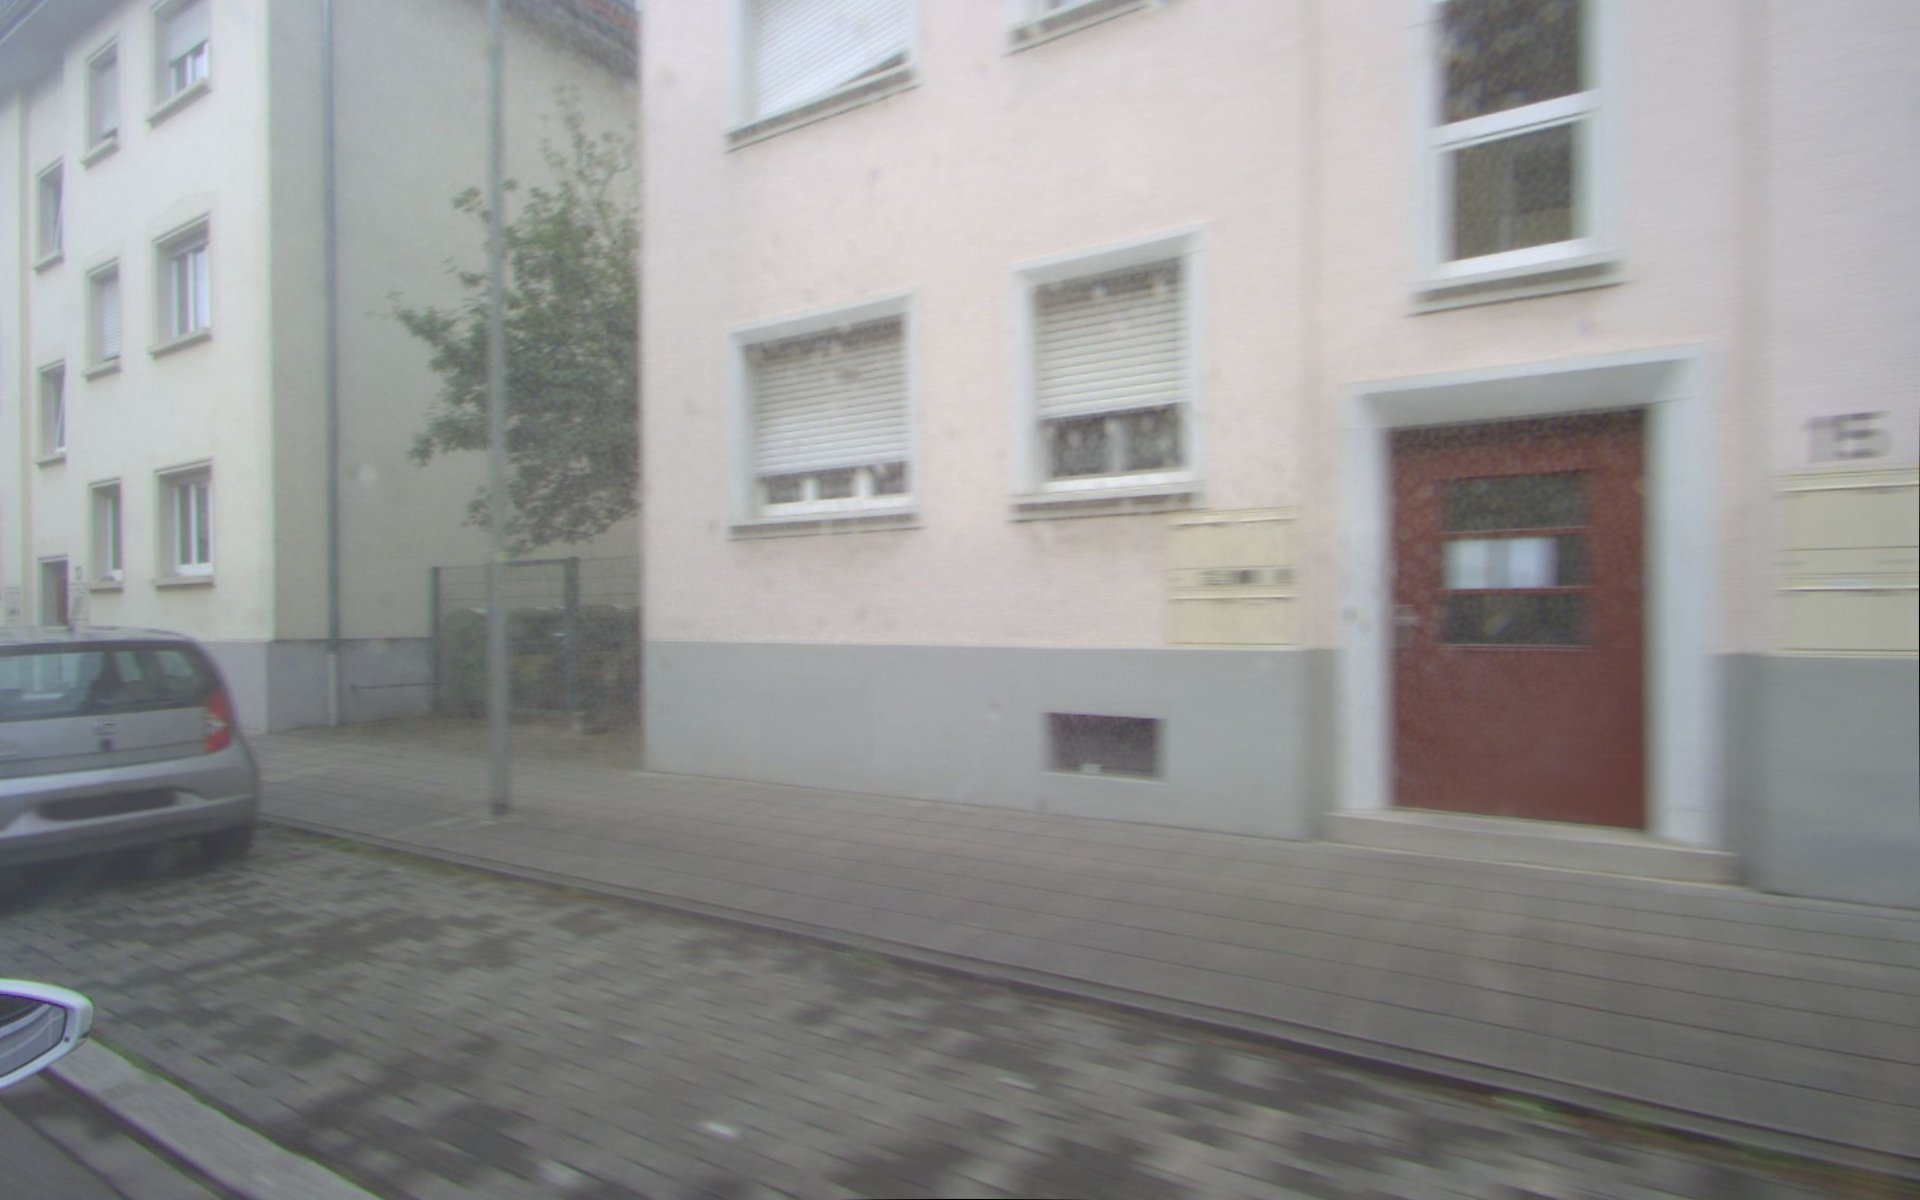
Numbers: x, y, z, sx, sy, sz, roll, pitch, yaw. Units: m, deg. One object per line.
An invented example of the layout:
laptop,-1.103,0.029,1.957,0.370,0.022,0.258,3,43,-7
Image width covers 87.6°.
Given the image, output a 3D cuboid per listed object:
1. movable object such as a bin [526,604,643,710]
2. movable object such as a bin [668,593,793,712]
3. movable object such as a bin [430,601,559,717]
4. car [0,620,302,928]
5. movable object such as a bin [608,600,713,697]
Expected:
movable object such as a bin,-5.496,0.801,14.688,1.133,1.463,1.159,0,0,32
movable object such as a bin,-2.996,0.662,13.128,1.133,1.463,1.159,0,0,32
movable object such as a bin,-6.252,0.757,13.472,1.133,1.463,1.159,0,0,32
car,-6.219,0.904,6.530,4.002,1.512,1.722,0,0,32
movable object such as a bin,-4.763,0.745,15.956,1.133,1.463,1.159,0,0,32
